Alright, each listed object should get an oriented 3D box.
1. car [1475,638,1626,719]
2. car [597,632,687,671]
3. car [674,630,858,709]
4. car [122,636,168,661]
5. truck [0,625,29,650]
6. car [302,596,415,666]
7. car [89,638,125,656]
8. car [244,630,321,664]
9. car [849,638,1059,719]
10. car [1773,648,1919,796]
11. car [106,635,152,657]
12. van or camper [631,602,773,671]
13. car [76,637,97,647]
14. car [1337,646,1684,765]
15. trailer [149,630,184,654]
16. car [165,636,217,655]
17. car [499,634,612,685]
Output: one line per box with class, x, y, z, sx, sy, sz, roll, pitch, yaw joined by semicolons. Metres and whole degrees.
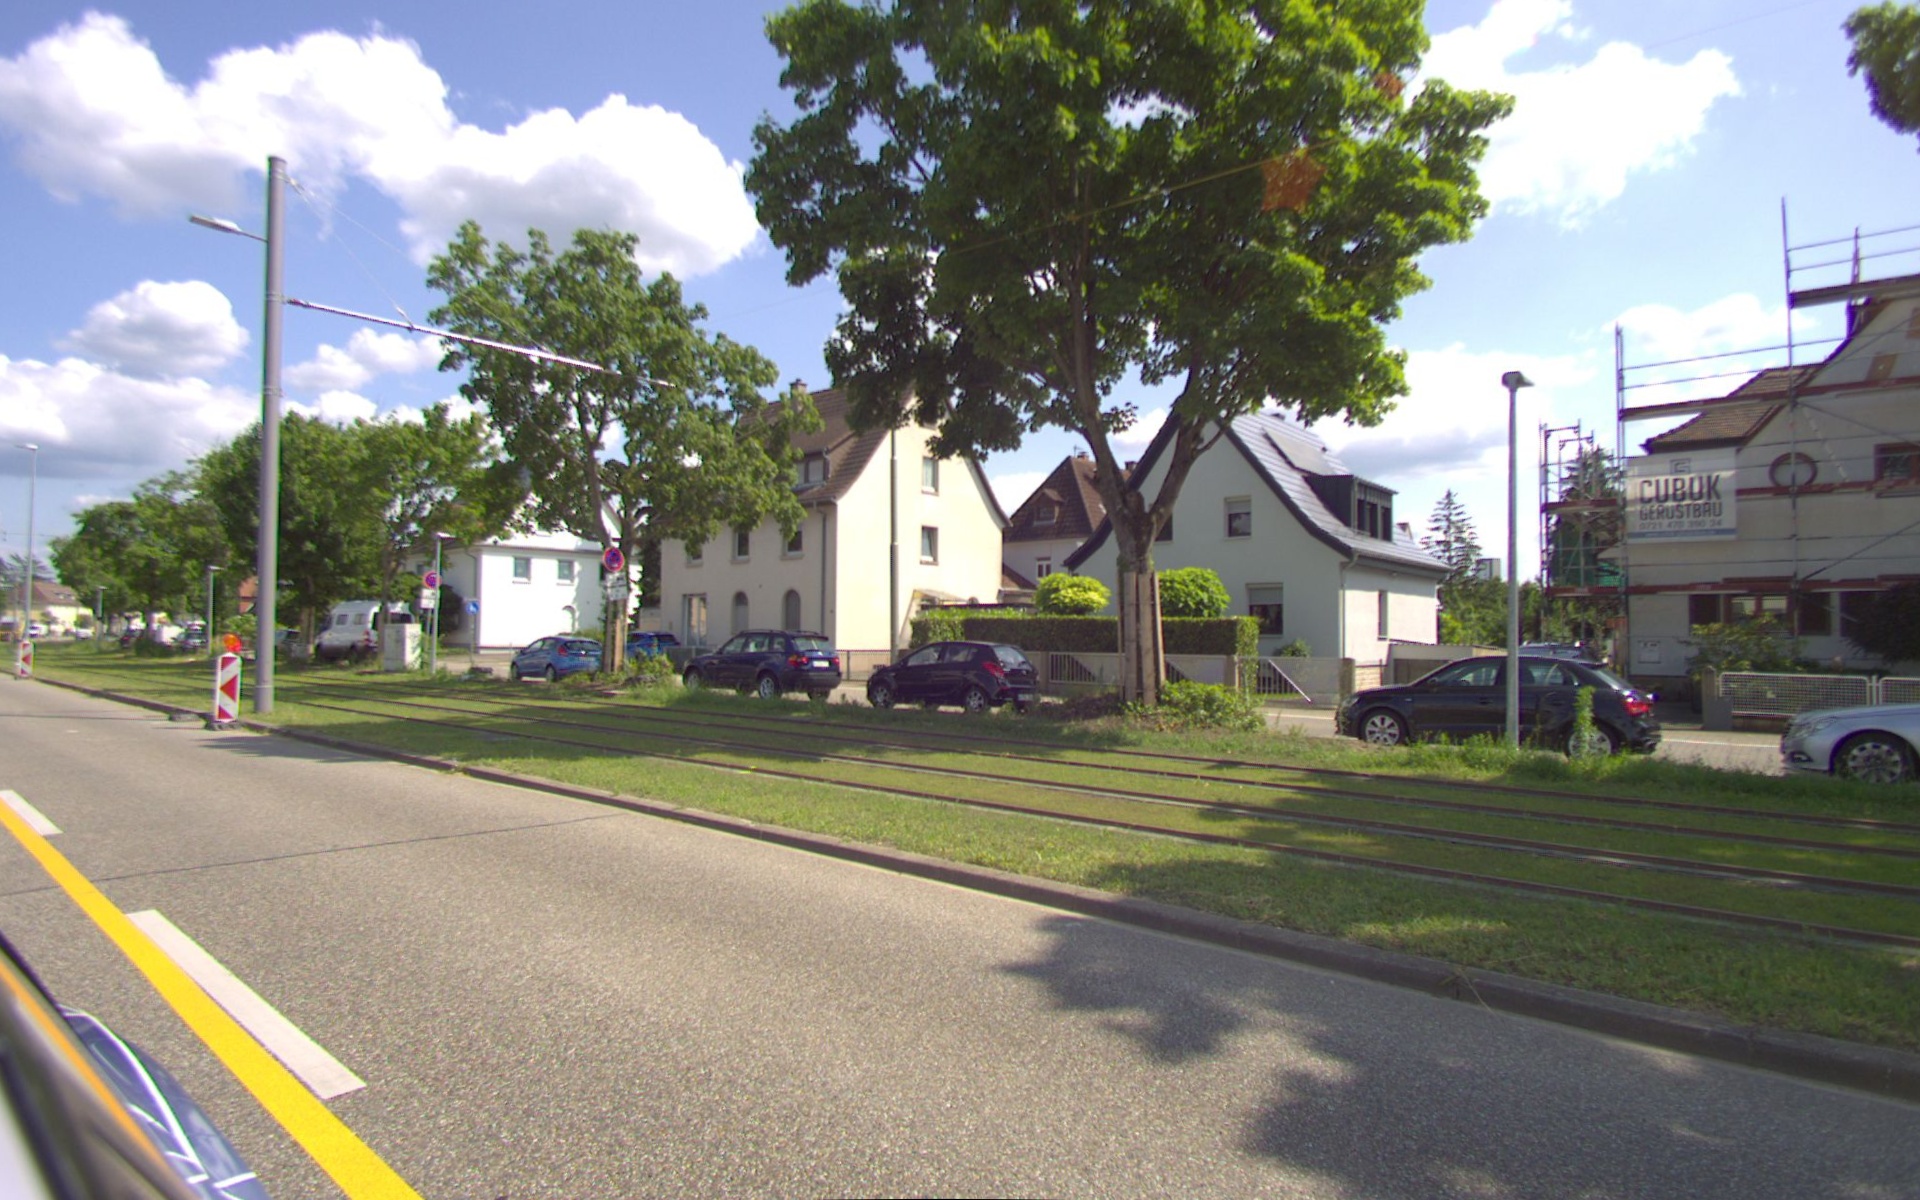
car;12.160;1.519;20.736;1.981;1.412;3.945;-1;-1;41
car;-13.776;2.197;43.727;3.999;1.589;1.882;-1;-3;42
car;-4.749;1.629;24.495;4.386;1.704;1.974;-1;-3;38
car;-58.351;3.508;72.432;4.099;1.590;1.885;-3;-8;42
truck;-132.062;5.254;140.097;2.658;3.392;8.074;3;-4;-28
car;-25.405;1.360;42.627;6.456;2.751;1.973;-2;-4;40
car;-75.301;4.133;89.313;4.324;1.551;1.971;-1;-4;44
car;-32.616;2.250;48.676;4.485;1.517;1.972;-1;-3;42
car;-0.176;1.571;20.796;3.998;1.450;1.973;-1;-4;41
car;11.400;1.284;10.179;4.938;1.494;1.785;-1;-4;42
car;-62.207;3.454;75.726;4.321;1.551;1.972;-1;-3;42
van or camper;-12.887;1.875;51.024;2.633;3.246;6.657;-2;-3;41
car;-143.822;6.940;166.691;1.488;1.510;3.586;2;-3;-23
car;7.451;1.366;13.864;3.851;1.328;1.972;-1;-5;41
trailer;-51.165;2.702;65.245;2.281;1.530;1.286;-1;-4;41
car;-46.960;2.758;61.758;3.834;1.101;1.762;-1;-3;41
car;-12.501;1.803;31.156;3.890;1.447;1.734;-1;-4;44
